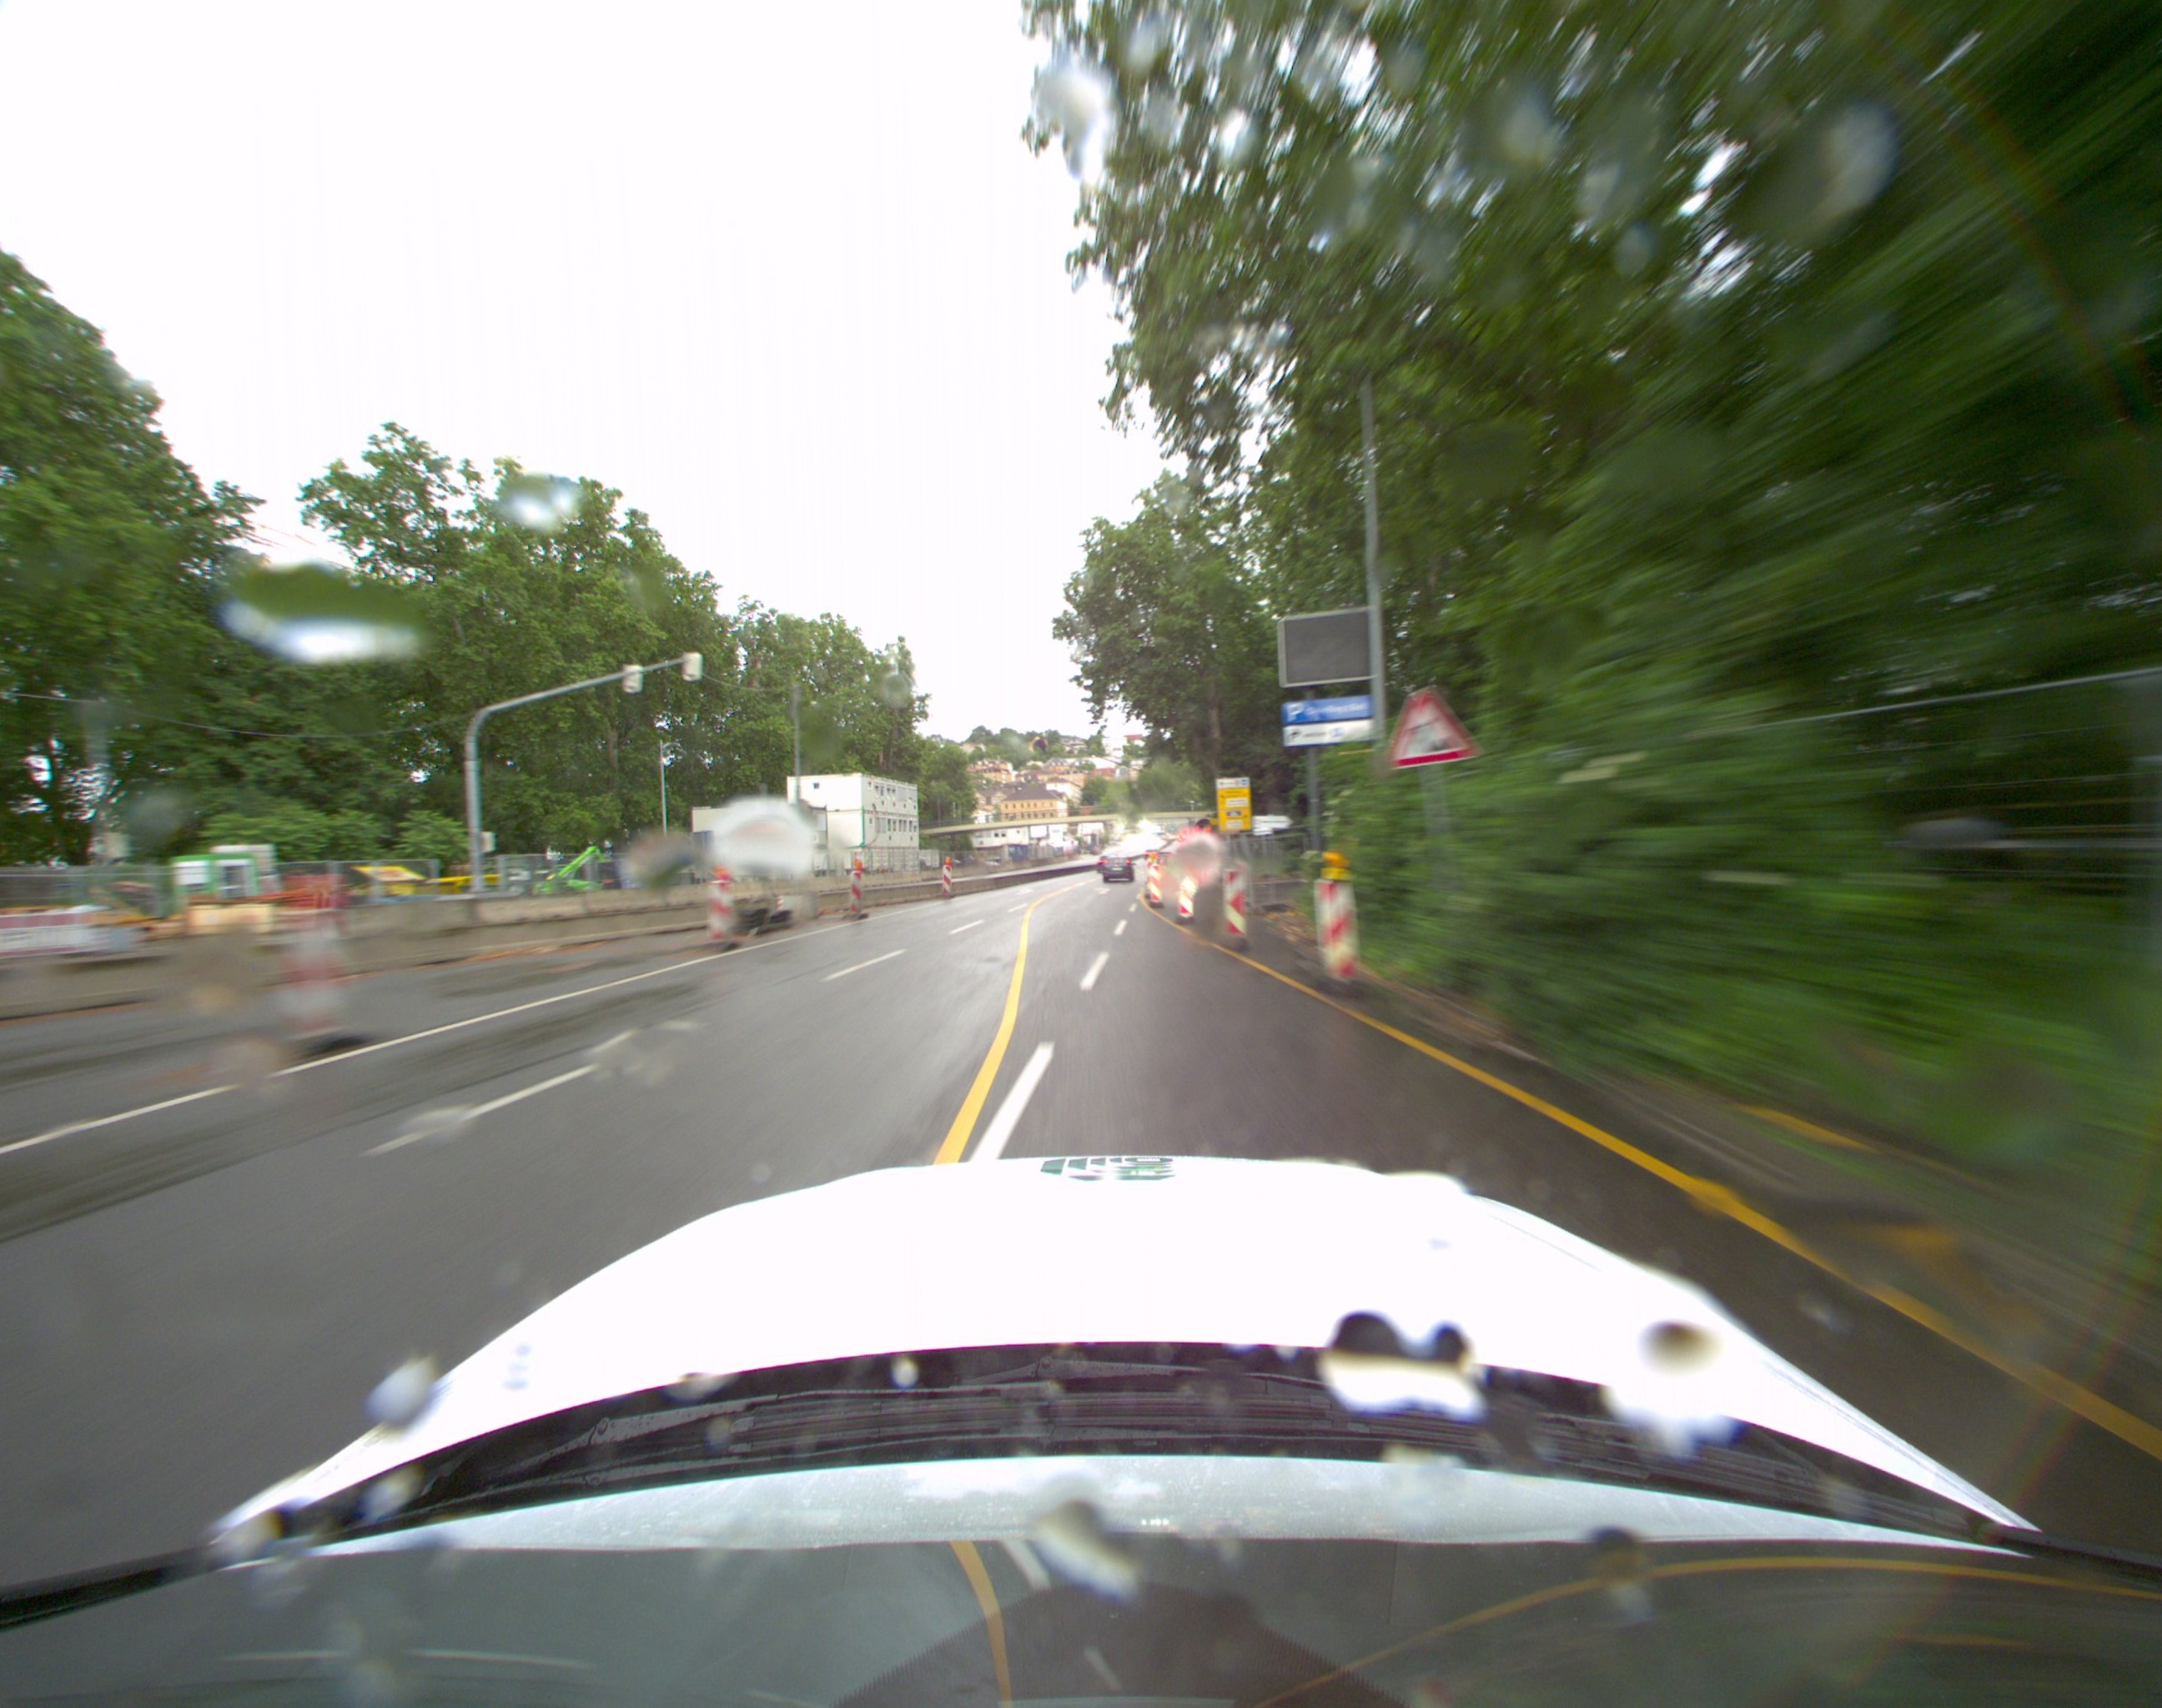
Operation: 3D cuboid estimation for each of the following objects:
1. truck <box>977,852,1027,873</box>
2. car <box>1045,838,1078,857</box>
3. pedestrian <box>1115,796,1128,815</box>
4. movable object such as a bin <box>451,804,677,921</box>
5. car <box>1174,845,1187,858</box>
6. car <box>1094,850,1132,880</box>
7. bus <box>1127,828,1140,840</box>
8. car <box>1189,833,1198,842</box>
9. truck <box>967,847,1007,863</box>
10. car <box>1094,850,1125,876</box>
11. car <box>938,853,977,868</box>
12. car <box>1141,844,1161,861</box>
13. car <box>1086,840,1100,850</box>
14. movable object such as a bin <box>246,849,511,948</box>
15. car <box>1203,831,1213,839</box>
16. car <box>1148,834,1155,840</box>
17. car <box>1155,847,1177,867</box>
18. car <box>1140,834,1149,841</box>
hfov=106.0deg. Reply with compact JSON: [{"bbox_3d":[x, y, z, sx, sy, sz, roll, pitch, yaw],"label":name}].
[{"bbox_3d":[-10.533,1.112,108.622,6.253,2.452,2.695,-3,0,2],"label":"truck"},{"bbox_3d":[-3.099,-1.075,131.118,1.974,2.875,6.091,-3,-1,36],"label":"car"},{"bbox_3d":[4.641,-5.632,94.099,1.139,2.060,1.064,-3,-1,17],"label":"pedestrian"},{"bbox_3d":[-24.465,0.387,39.372,4.724,4.803,8.377,-3,0,7],"label":"movable object such as a bin"},{"bbox_3d":[16.330,-0.391,133.505,2.040,2.013,4.009,-3,0,8],"label":"car"},{"bbox_3d":[1.739,0.615,45.920,1.807,1.527,3.997,-3,0,-2],"label":"car"},{"bbox_3d":[15.000,-5.653,230.679,2.789,3.184,8.830,-3,1,9],"label":"bus"},{"bbox_3d":[24.971,-3.612,181.125,1.982,1.869,4.009,-3,0,8],"label":"car"},{"bbox_3d":[-13.534,0.147,117.164,5.222,2.013,2.167,-3,0,4],"label":"truck"},{"bbox_3d":[2.417,0.744,67.333,2.005,2.013,4.010,-3,0,9],"label":"car"},{"bbox_3d":[-15.029,0.772,99.383,4.408,1.627,1.959,-3,0,0],"label":"car"},{"bbox_3d":[9.130,-0.169,106.209,1.980,2.013,4.013,-3,0,11],"label":"car"},{"bbox_3d":[2.428,-1.787,162.133,1.980,1.621,4.015,-2,2,13],"label":"car"},{"bbox_3d":[-25.759,1.505,30.418,3.911,3.128,6.401,-3,0,7],"label":"movable object such as a bin"},{"bbox_3d":[28.677,-4.282,184.321,1.983,1.698,4.008,-3,0,7],"label":"car"},{"bbox_3d":[20.733,-5.057,238.994,1.698,1.489,3.460,-3,0,10],"label":"car"},{"bbox_3d":[9.377,0.315,89.458,2.092,2.050,4.010,-3,0,9],"label":"car"},{"bbox_3d":[17.282,-4.577,222.985,2.070,1.630,4.864,-3,1,8],"label":"car"}]
